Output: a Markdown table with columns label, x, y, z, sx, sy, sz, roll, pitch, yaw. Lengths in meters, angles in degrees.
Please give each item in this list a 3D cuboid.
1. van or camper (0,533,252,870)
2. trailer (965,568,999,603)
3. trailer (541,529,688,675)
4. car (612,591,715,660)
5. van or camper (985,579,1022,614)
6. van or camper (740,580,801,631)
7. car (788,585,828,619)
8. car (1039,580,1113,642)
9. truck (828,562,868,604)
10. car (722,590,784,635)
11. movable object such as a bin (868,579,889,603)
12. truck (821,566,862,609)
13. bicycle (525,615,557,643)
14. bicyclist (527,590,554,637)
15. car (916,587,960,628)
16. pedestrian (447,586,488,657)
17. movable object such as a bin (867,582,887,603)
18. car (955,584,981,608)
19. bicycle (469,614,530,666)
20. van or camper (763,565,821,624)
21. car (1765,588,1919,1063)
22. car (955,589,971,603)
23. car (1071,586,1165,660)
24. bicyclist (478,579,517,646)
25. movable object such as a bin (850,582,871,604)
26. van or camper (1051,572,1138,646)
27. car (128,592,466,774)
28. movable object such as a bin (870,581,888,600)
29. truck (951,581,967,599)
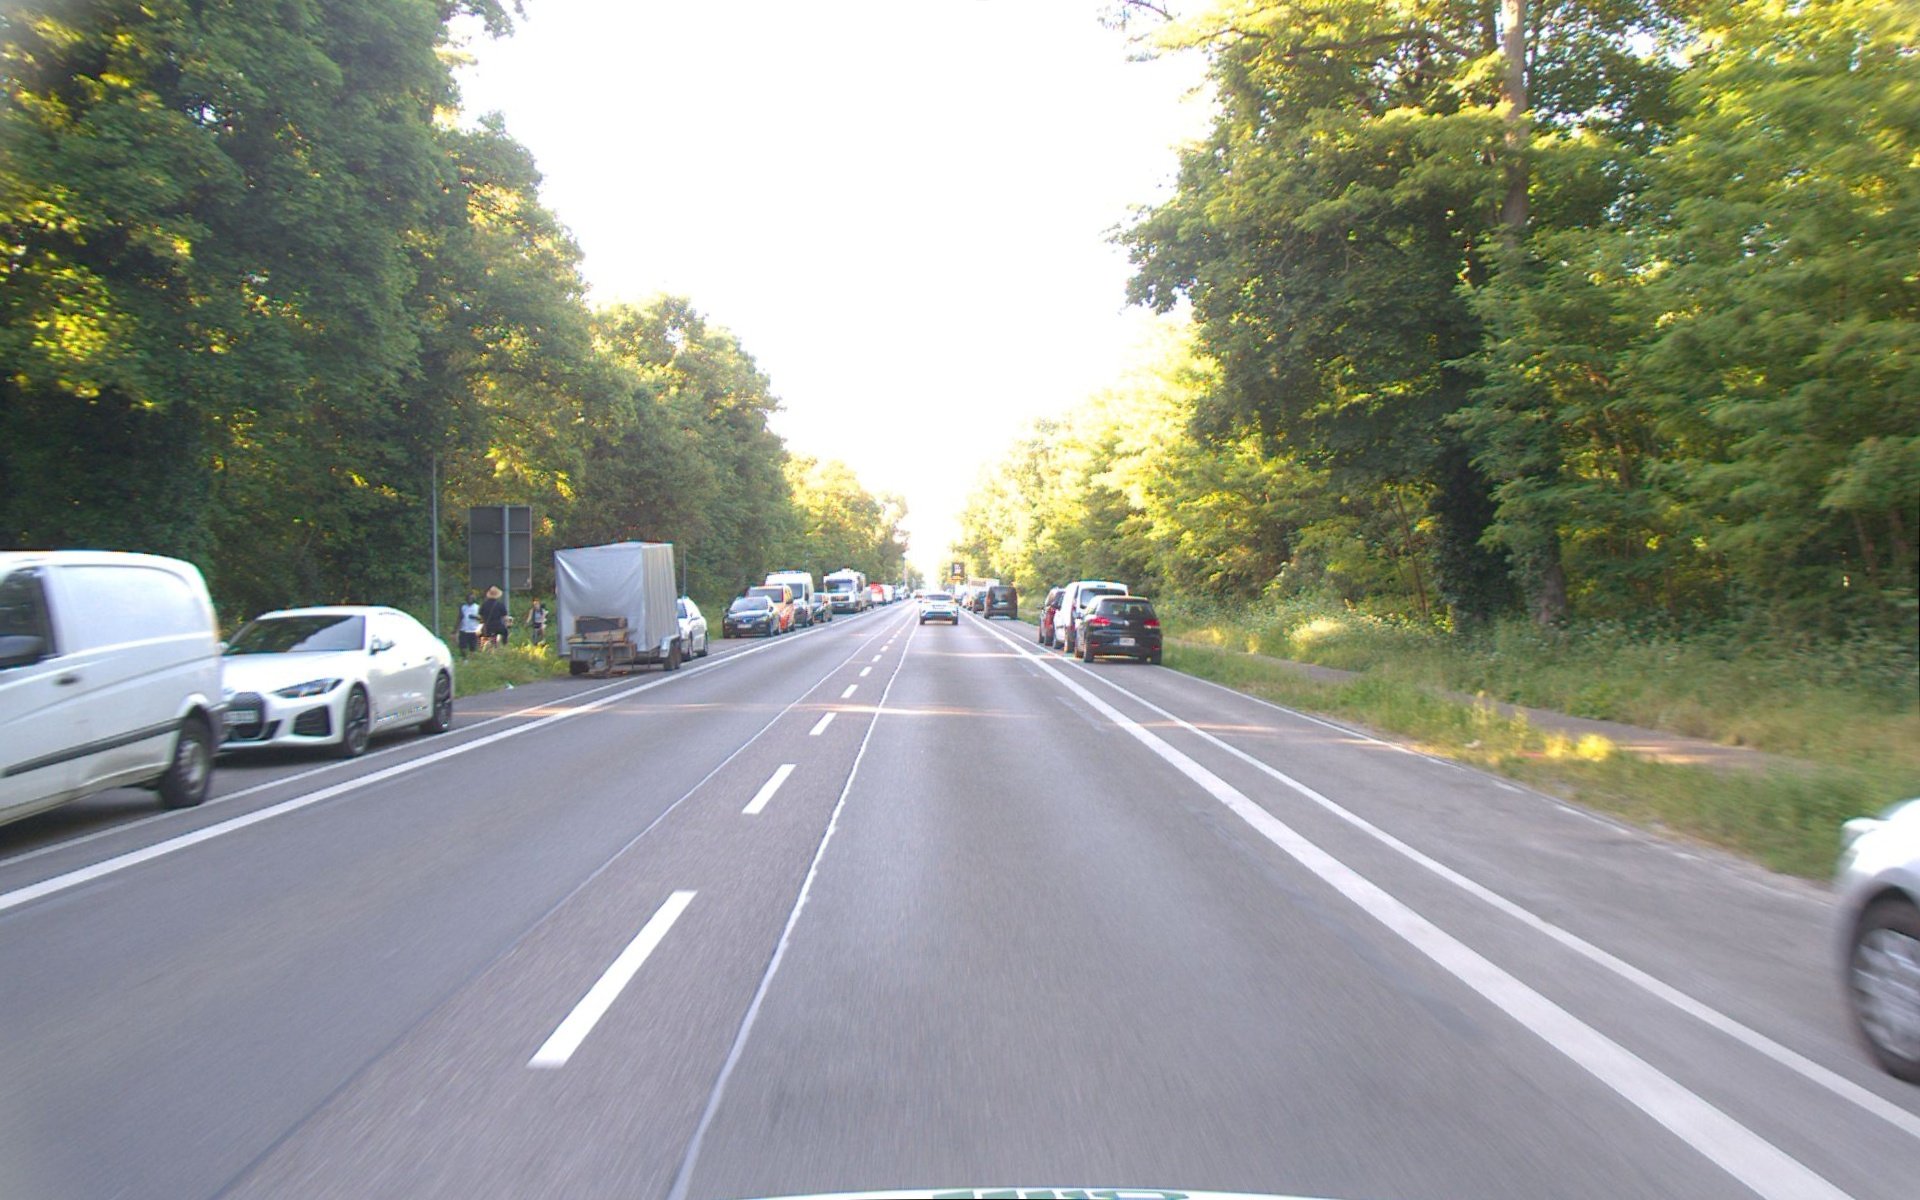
| label | x | y | z | sx | sy | sz | roll | pitch | yaw |
| --- | --- | --- | --- | --- | --- | --- | --- | --- | --- |
| van or camper | -6.496 | 0.607 | 10.687 | 1.798 | 1.945 | 4.854 | -2 | 0 | -2 |
| trailer | 1.881 | -1.254 | 142.304 | 2.701 | 2.920 | 6.587 | -1 | 0 | -1 |
| trailer | -6.838 | 0.021 | 33.211 | 1.953 | 2.642 | 4.415 | -3 | 0 | -1 |
| car | -7.030 | 0.557 | 39.646 | 1.761 | 1.479 | 4.623 | -2 | 1 | -2 |
| van or camper | 2.517 | -0.201 | 97.301 | 1.953 | 1.966 | 5.198 | 1 | 0 | -1 |
| van or camper | -7.611 | 0.189 | 66.742 | 1.884 | 1.899 | 4.862 | -2 | 0 | -1 |
| car | -8.217 | 0.097 | 89.813 | 1.745 | 1.713 | 4.377 | -2 | 0 | -1 |
| car | 3.388 | 0.293 | 48.827 | 1.797 | 1.689 | 4.337 | 1 | 0 | -1 |
| truck | -9.284 | -1.409 | 137.843 | 2.652 | 3.406 | 10.922 | 0 | 0 | -1 |
| car | -7.505 | 0.435 | 60.316 | 1.696 | 1.503 | 4.323 | -2 | 0 | -1 |
| movable object such as a bin | -9.122 | -1.006 | 185.359 | 2.275 | 2.545 | 3.999 | -1 | 0 | -1 |
| truck | -8.998 | -0.951 | 126.235 | 2.652 | 3.147 | 7.988 | 0 | 0 | -1 |
| bicycle | -11.454 | 0.799 | 45.248 | 0.511 | 0.725 | 1.487 | 0 | 0 | -1 |
| bicyclist | -11.450 | 0.362 | 45.154 | 0.477 | 1.256 | 0.974 | 0 | 0 | -1 |
| car | -1.021 | 0.322 | 77.969 | 1.987 | 1.872 | 4.028 | -1 | 1 | -1 |
| pedestrian | -11.485 | 0.490 | 38.599 | 0.743 | 1.635 | 0.716 | 0 | 0 | -1 |
| movable object such as a bin | -9.996 | -0.925 | 199.698 | 2.275 | 2.545 | 3.999 | -1 | 0 | -1 |
| car | 0.551 | -0.296 | 120.117 | 1.803 | 1.691 | 4.000 | 0 | 0 | 0 |
| bicycle | -9.743 | 0.835 | 35.058 | 0.638 | 1.026 | 2.396 | 0 | 0 | -1 |
| van or camper | -7.823 | -0.266 | 77.787 | 2.077 | 2.617 | 6.541 | -1 | 0 | -1 |
| car | 4.039 | 0.760 | 4.371 | 1.712 | 1.542 | 3.998 | 1 | 0 | -3 |
| car | 0.282 | -0.470 | 178.180 | 1.622 | 1.504 | 3.753 | -1 | 0 | -1 |
| car | 3.536 | 0.481 | 37.648 | 1.656 | 1.551 | 4.149 | 1 | 0 | -1 |
| bicyclist | -9.770 | 0.256 | 34.948 | 0.592 | 1.398 | 0.799 | 0 | 0 | -1 |
| movable object such as a bin | -9.686 | -0.674 | 161.035 | 1.914 | 2.049 | 3.999 | -1 | 0 | -1 |
| van or camper | 3.523 | 0.206 | 43.931 | 1.911 | 1.847 | 4.380 | 0 | 0 | -1 |
| car | -6.706 | 0.739 | 17.305 | 1.738 | 1.567 | 4.523 | -2 | 0 | -1 |
| movable object such as a bin | -10.890 | -1.248 | 222.201 | 2.275 | 2.545 | 3.999 | -1 | 0 | -1 |
| truck | -0.134 | -1.466 | 233.082 | 2.054 | 2.495 | 5.679 | -1 | 0 | -1 |
